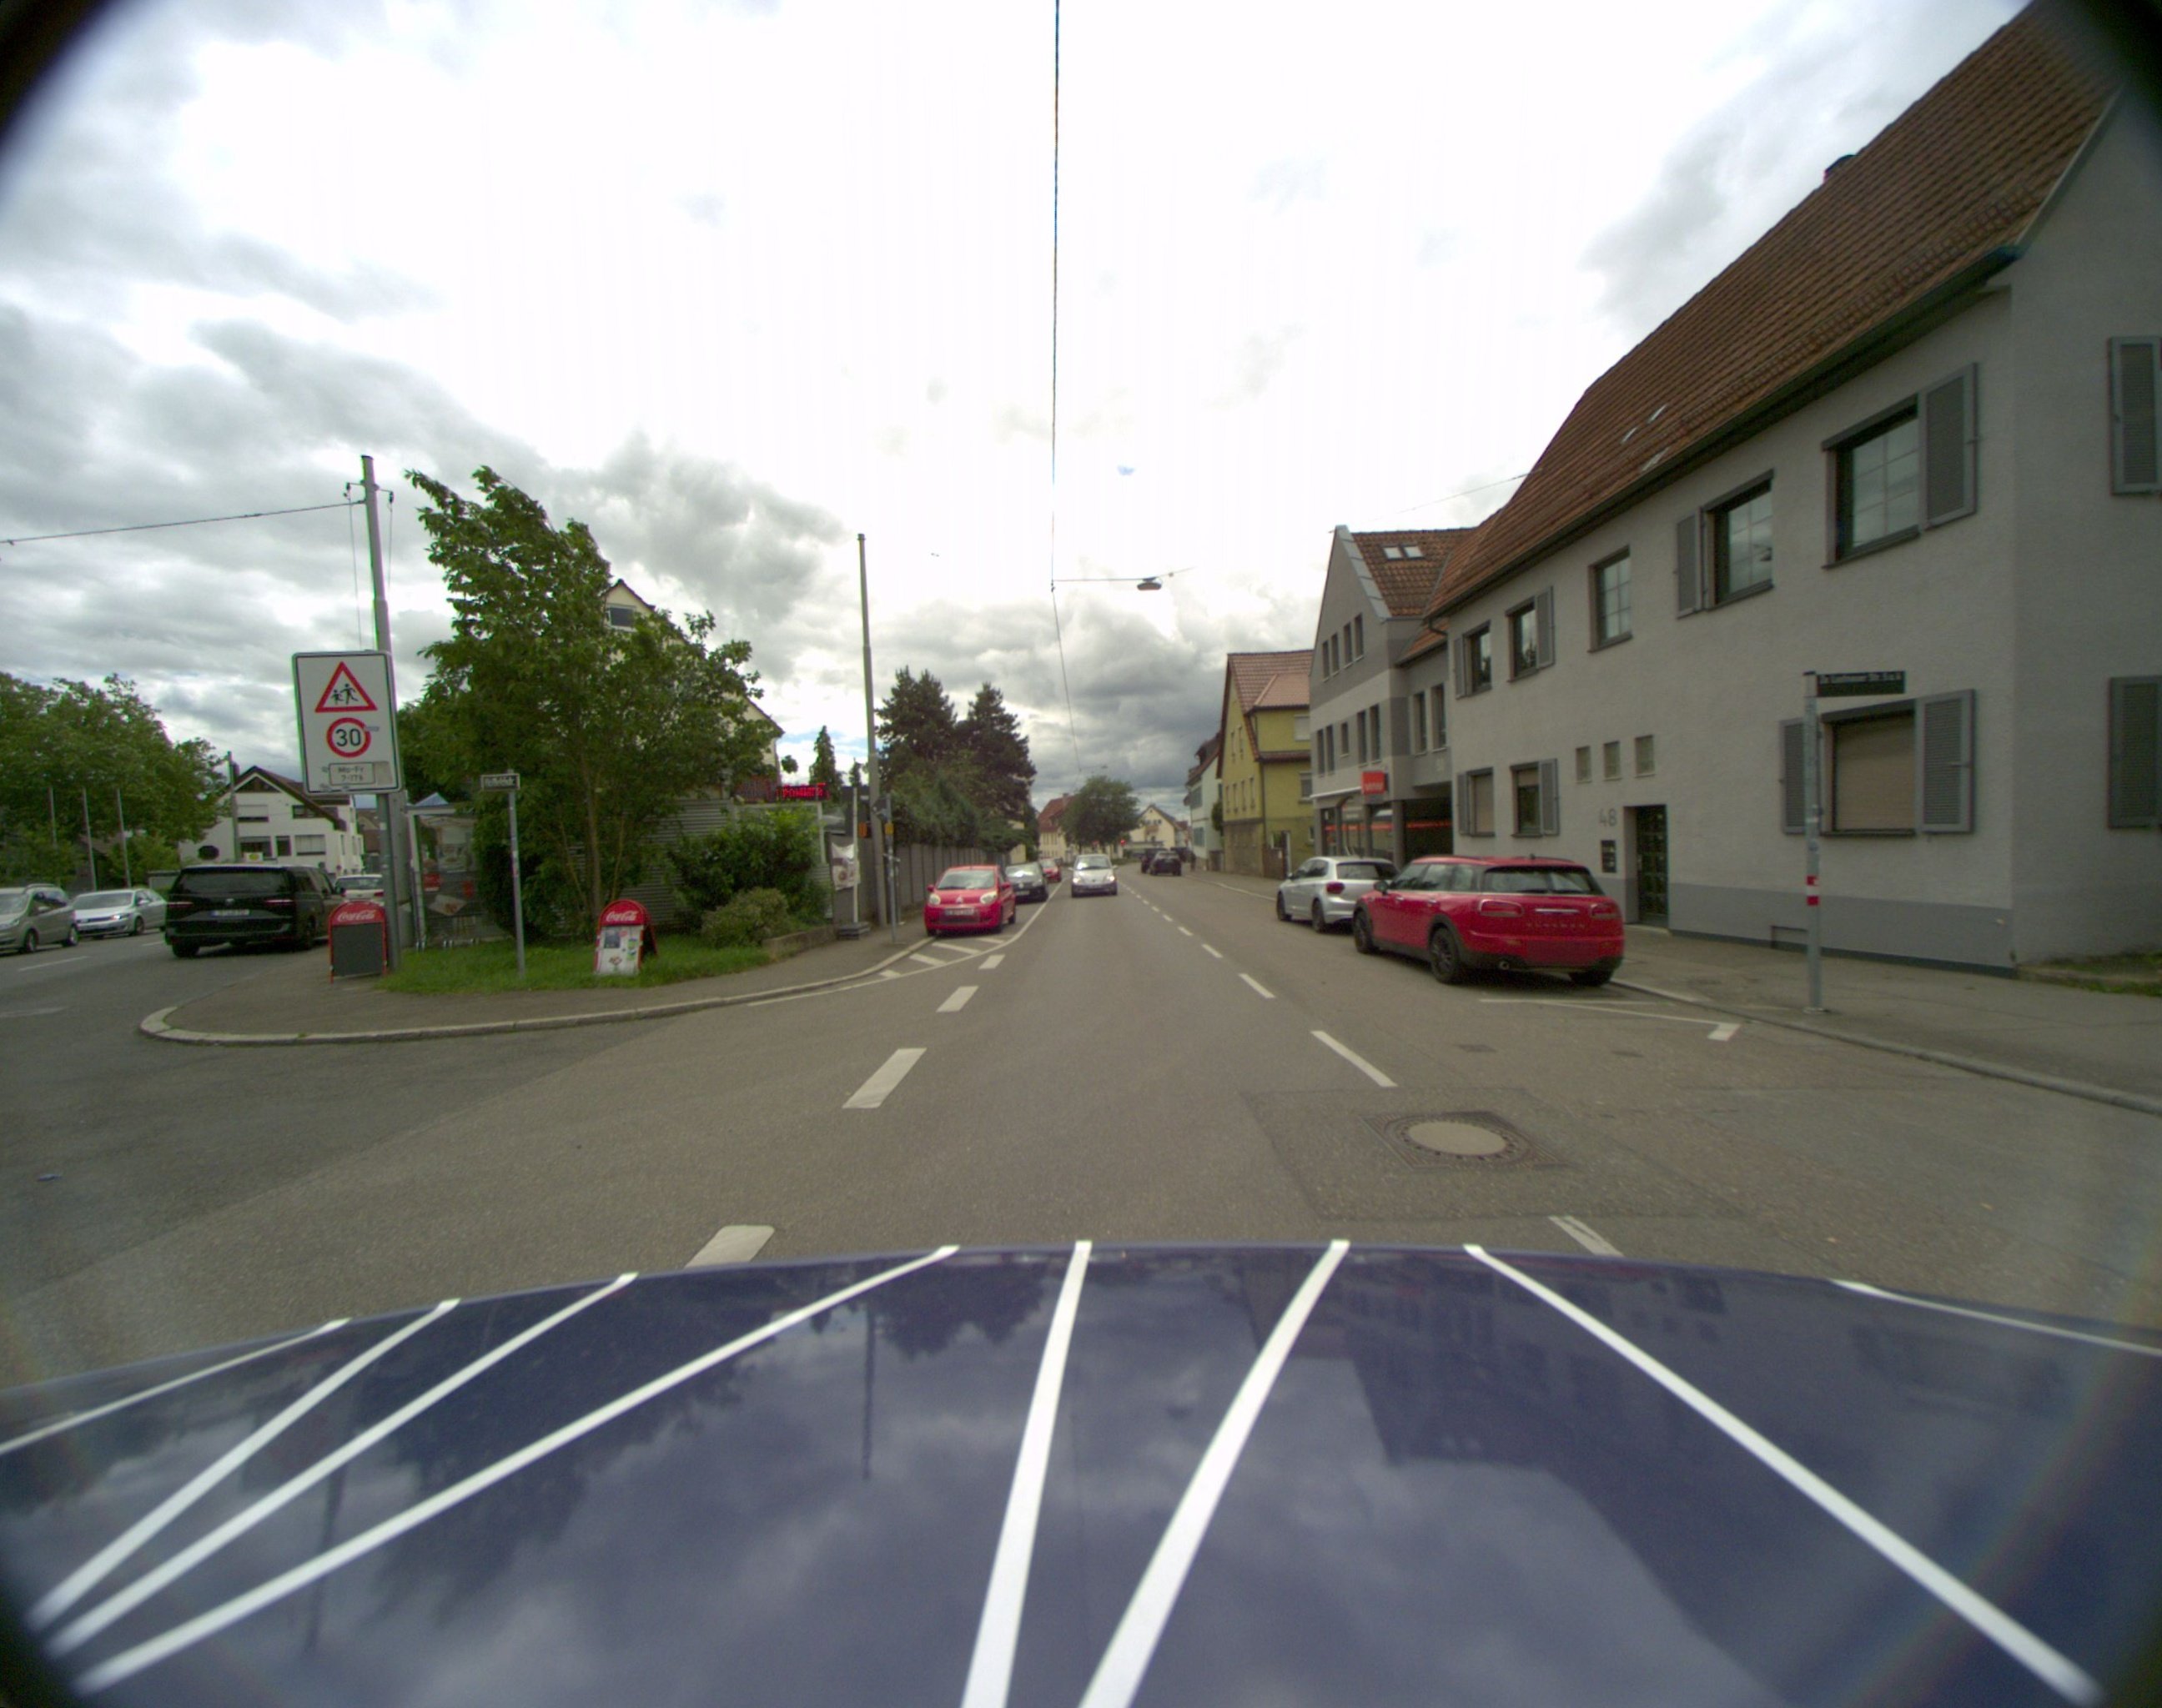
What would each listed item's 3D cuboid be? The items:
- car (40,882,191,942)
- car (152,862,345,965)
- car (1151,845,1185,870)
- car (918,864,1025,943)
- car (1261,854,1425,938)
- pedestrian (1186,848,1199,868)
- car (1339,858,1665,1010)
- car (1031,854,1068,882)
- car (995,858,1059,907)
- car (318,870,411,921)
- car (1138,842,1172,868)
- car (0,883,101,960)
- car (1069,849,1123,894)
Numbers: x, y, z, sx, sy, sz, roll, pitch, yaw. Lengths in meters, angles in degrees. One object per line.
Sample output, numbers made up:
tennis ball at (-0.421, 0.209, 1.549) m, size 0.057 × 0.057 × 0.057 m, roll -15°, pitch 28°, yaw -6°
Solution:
car at (-31.040, 1.797, 24.607) m, size 2.004 × 1.596 × 4.381 m, roll -2°, pitch 1°, yaw -38°
car at (-17.935, 1.160, 16.646) m, size 2.004 × 1.866 × 4.381 m, roll -2°, pitch 1°, yaw -37°
car at (5.726, 0.218, 50.291) m, size 1.718 × 1.559 × 4.352 m, roll -2°, pitch 0°, yaw 0°
car at (-2.386, 1.029, 17.487) m, size 1.719 × 1.472 × 4.000 m, roll -2°, pitch 0°, yaw 2°
car at (5.125, 0.740, 15.526) m, size 1.782 × 1.465 × 4.351 m, roll 0°, pitch 0°, yaw -1°
pedestrian at (7.948, 0.267, 54.348) m, size 0.832 × 1.368 × 0.551 m, roll -2°, pitch 1°, yaw 2°
car at (4.920, 0.805, 9.731) m, size 1.863 × 1.465 × 4.352 m, roll 0°, pitch 0°, yaw 2°
car at (-1.945, 0.858, 47.826) m, size 1.995 × 1.490 × 4.352 m, roll -5°, pitch 0°, yaw 0°
car at (-1.921, 0.985, 27.979) m, size 1.819 × 1.472 × 4.000 m, roll -6°, pitch 0°, yaw 2°
car at (-26.679, 1.466, 28.432) m, size 2.004 × 1.663 × 4.381 m, roll -2°, pitch 1°, yaw -37°
car at (5.496, 0.082, 56.798) m, size 2.112 × 1.839 × 4.352 m, roll -2°, pitch 0°, yaw 0°
car at (-27.428, 1.695, 19.339) m, size 2.004 × 1.731 × 4.381 m, roll -2°, pitch 1°, yaw -38°
car at (0.547, 0.611, 28.884) m, size 1.858 × 1.548 × 4.352 m, roll -2°, pitch 0°, yaw 0°
